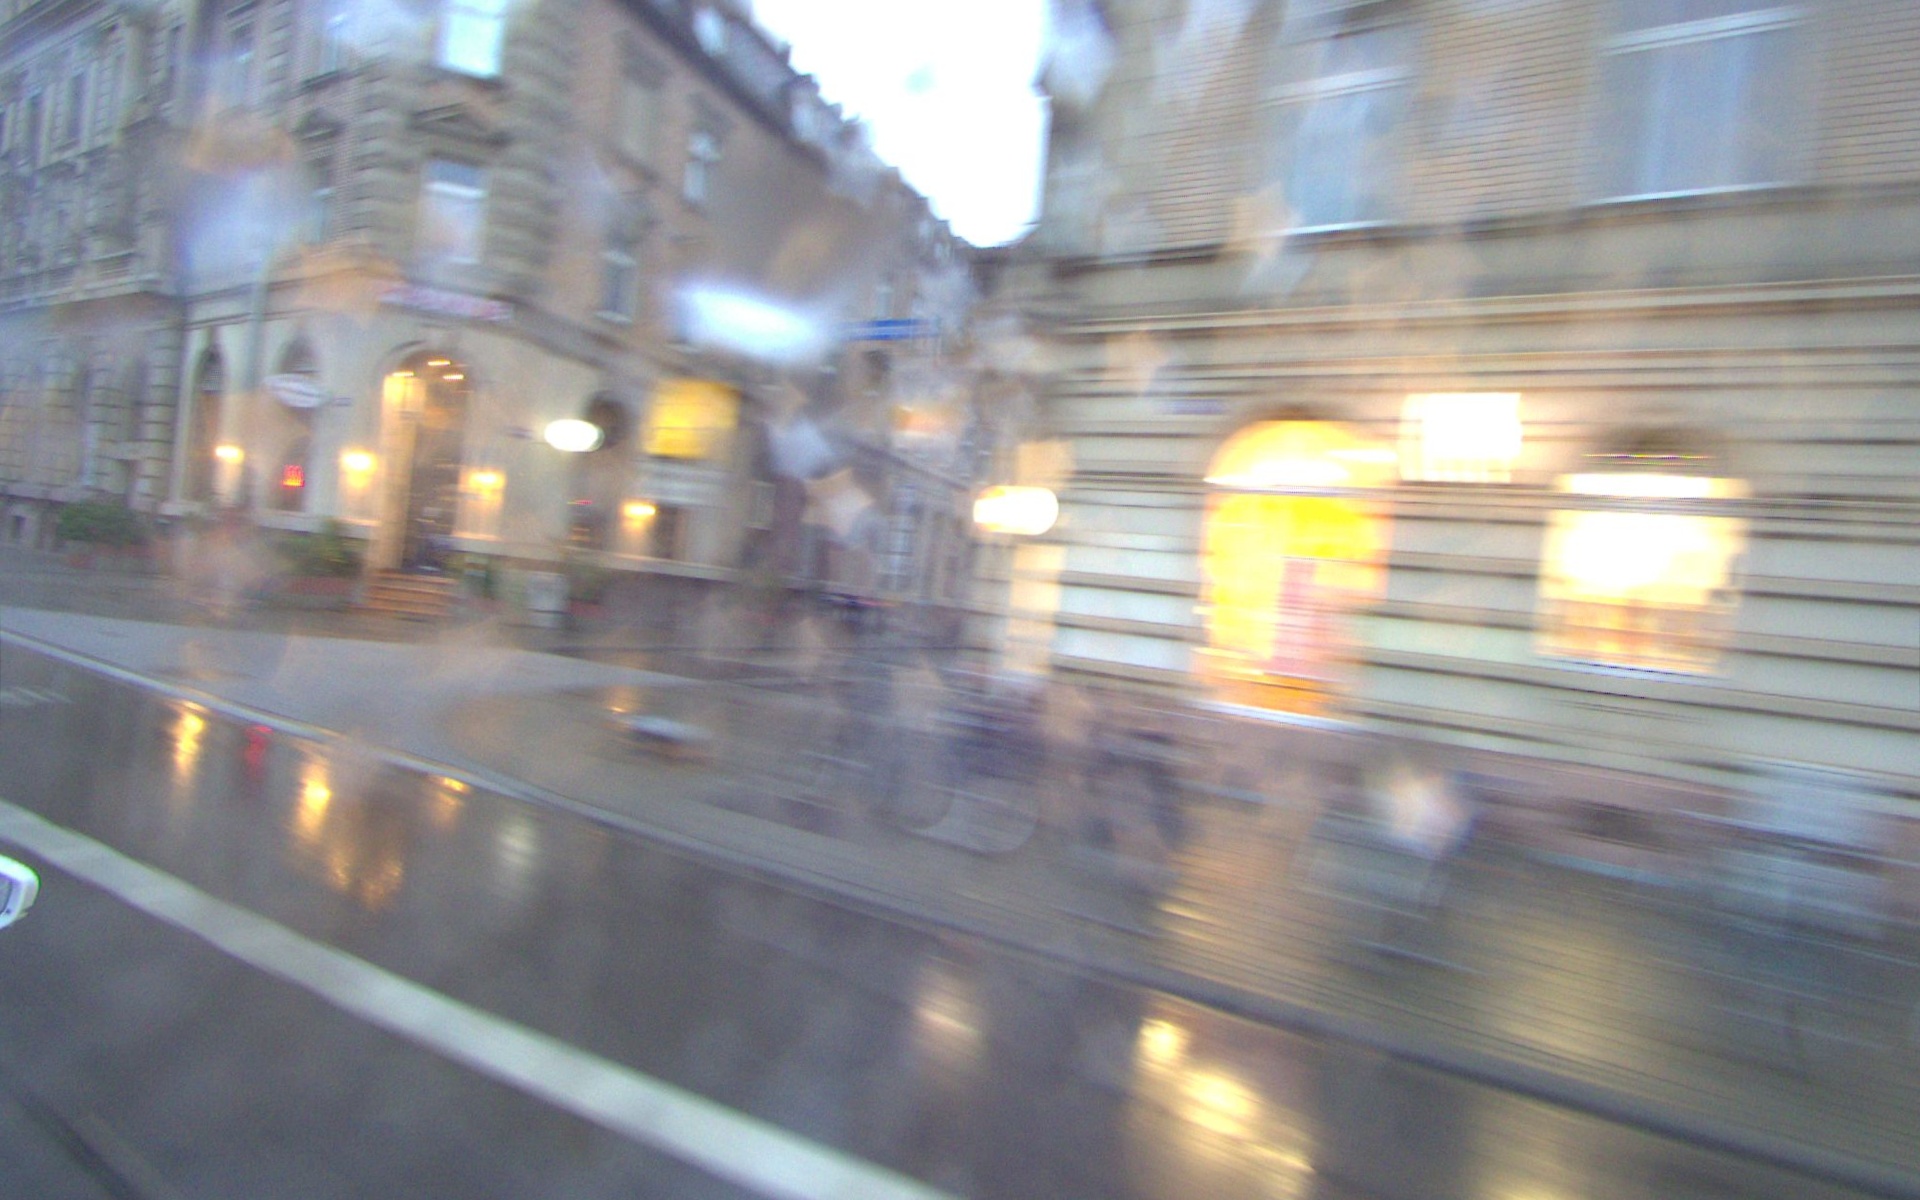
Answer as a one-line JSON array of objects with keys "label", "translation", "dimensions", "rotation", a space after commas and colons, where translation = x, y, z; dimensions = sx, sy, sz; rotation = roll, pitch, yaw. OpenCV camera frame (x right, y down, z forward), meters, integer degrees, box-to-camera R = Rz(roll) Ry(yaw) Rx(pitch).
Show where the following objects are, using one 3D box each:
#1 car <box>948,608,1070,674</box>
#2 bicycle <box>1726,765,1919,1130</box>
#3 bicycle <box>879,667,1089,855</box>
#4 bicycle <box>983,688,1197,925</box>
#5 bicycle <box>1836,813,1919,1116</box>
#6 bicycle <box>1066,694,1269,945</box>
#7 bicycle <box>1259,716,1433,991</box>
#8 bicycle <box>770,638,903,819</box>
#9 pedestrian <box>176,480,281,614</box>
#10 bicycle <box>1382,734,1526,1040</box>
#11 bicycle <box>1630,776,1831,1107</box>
[{"label": "car", "translation": [1.415, 1.118, 27.243], "dimensions": [1.818, 1.438, 4.191], "rotation": [7, 0, 23]}, {"label": "bicycle", "translation": [4.134, 1.494, 4.777], "dimensions": [0.418, 1.110, 2.008], "rotation": [7, 3, 30]}, {"label": "bicycle", "translation": [0.252, 1.057, 7.182], "dimensions": [0.470, 1.065, 2.089], "rotation": [7, 1, 30]}, {"label": "bicycle", "translation": [0.891, 1.167, 6.261], "dimensions": [0.470, 1.066, 2.088], "rotation": [7, 3, 30]}, {"label": "bicycle", "translation": [4.365, 1.619, 4.403], "dimensions": [0.365, 1.068, 1.731], "rotation": [7, 1, 30]}, {"label": "bicycle", "translation": [1.322, 1.189, 6.022], "dimensions": [0.418, 1.069, 2.145], "rotation": [8, 3, 30]}, {"label": "bicycle", "translation": [2.220, 1.271, 5.611], "dimensions": [0.476, 1.068, 2.146], "rotation": [7, 1, 30]}, {"label": "bicycle", "translation": [-0.872, 0.883, 7.661], "dimensions": [0.469, 1.065, 2.094], "rotation": [6, 1, 5]}, {"label": "pedestrian", "translation": [-12.007, -0.843, 16.546], "dimensions": [0.901, 2.039, 0.855], "rotation": [7, 1, 2]}, {"label": "bicycle", "translation": [2.684, 1.373, 5.351], "dimensions": [0.418, 1.069, 2.145], "rotation": [8, 3, 30]}, {"label": "bicycle", "translation": [3.695, 1.526, 4.953], "dimensions": [0.418, 0.984, 2.008], "rotation": [7, 3, 30]}]
